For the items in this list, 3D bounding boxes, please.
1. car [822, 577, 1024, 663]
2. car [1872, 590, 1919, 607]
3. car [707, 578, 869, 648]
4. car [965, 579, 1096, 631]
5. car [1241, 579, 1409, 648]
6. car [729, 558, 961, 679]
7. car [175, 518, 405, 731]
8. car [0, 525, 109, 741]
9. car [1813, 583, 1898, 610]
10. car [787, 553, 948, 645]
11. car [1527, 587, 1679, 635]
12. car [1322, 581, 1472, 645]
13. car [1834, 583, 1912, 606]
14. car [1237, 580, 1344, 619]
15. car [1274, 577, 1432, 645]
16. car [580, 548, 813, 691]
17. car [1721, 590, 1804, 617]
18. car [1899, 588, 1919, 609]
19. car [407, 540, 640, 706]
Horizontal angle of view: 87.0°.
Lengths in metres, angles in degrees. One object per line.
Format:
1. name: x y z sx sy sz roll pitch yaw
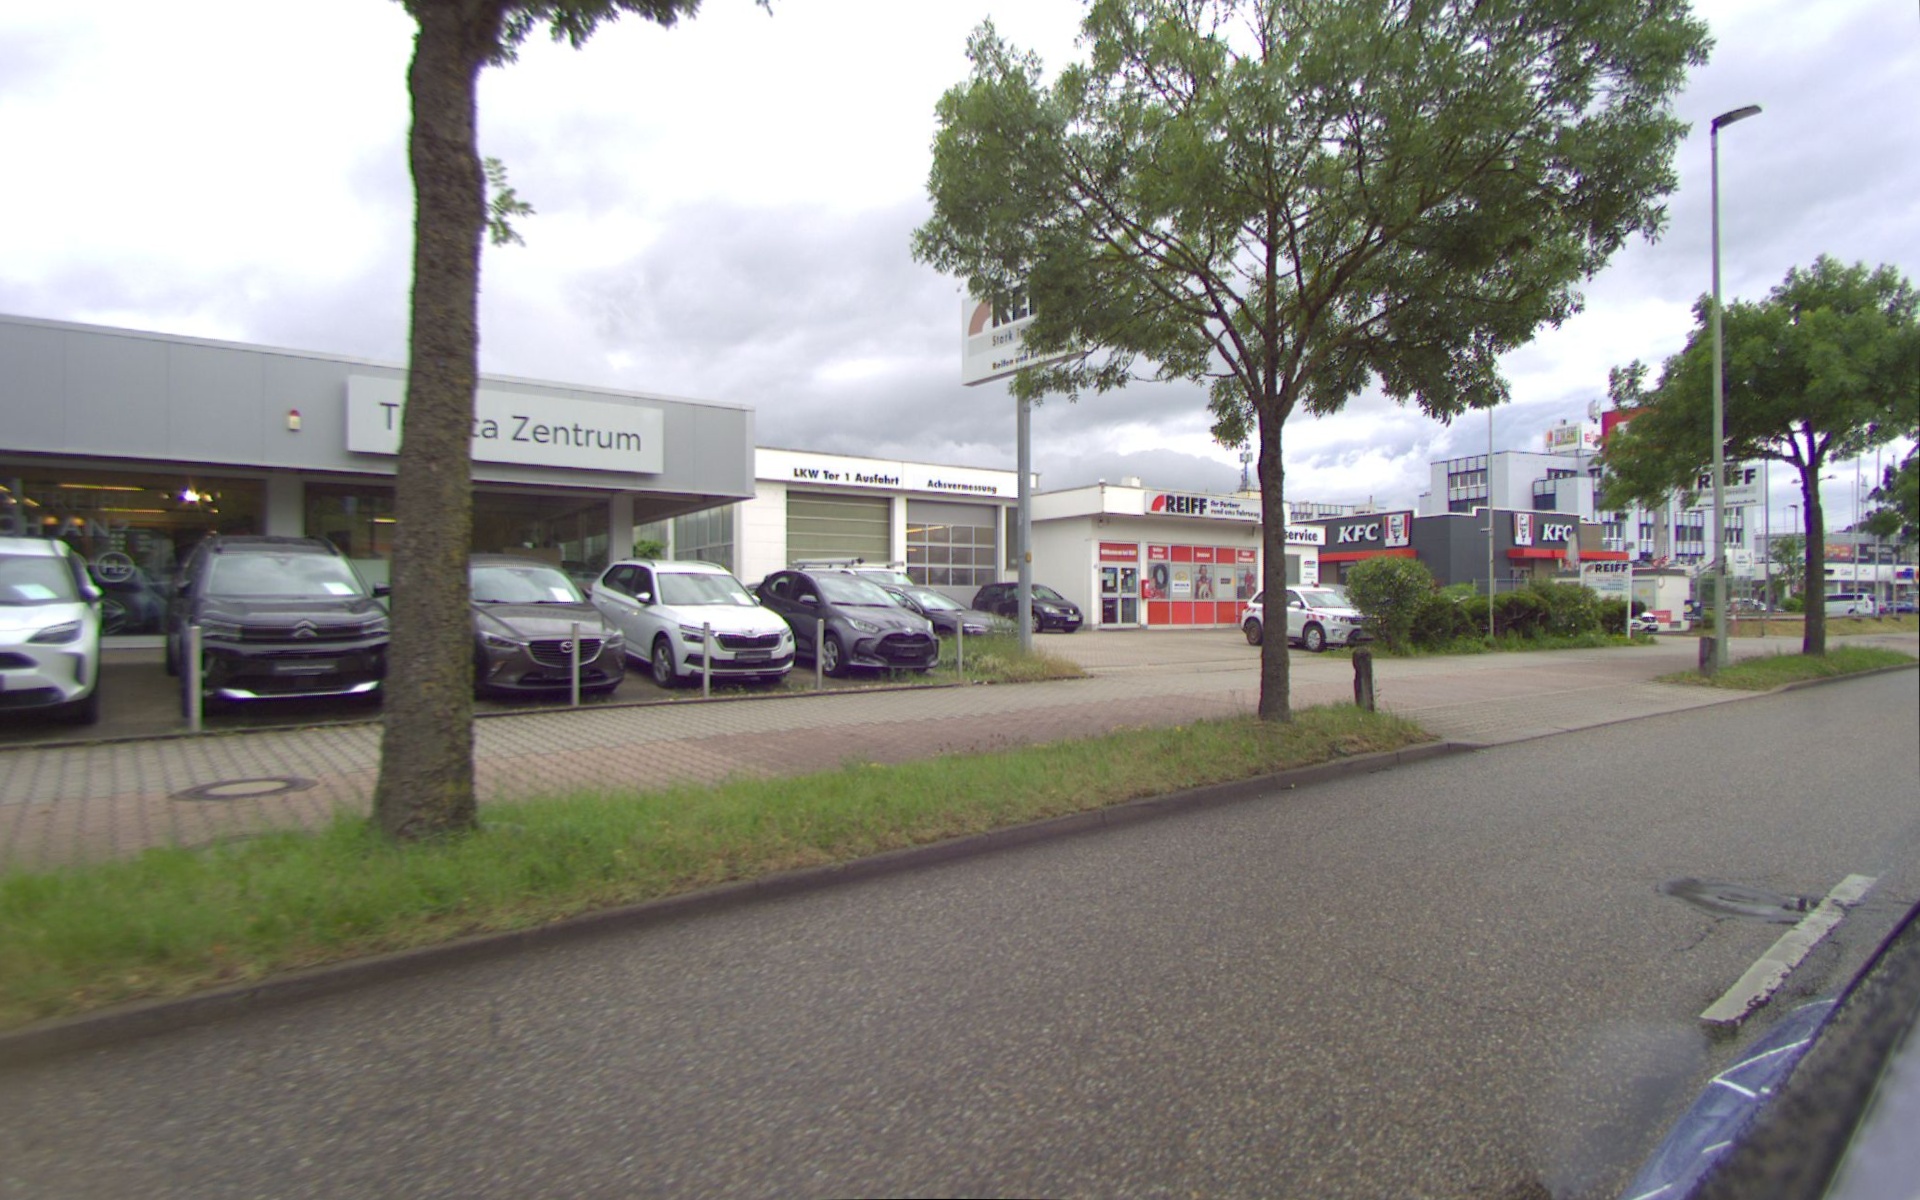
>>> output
1. car: -0.757 0.325 19.853 3.669 1.482 1.770 2 1 37
2. car: 79.844 -0.114 85.052 1.785 1.411 4.383 0 0 -23
3. car: -4.255 0.264 24.442 1.963 1.517 4.666 0 0 -37
4. car: 2.168 0.148 32.099 1.948 1.522 4.065 0 0 -38
5. car: 9.213 0.285 25.923 1.943 1.617 4.077 0 1 -18
6. car: -1.915 0.190 15.855 1.795 1.479 3.844 0 4 -39
7. car: -7.401 0.094 11.071 1.778 1.807 4.001 0 5 -37
8. car: -9.265 0.165 9.593 1.780 1.606 3.998 1 5 -40
9. car: 72.639 -0.298 82.213 1.958 2.039 4.797 1 0 -22
10. car: -2.503 -0.060 26.437 1.930 2.177 4.663 0 0 -39
11. car: 22.780 0.348 36.010 1.852 1.571 4.192 0 0 -30
12. car: 12.649 0.329 29.612 1.783 1.683 4.164 2 0 -15
13. car: 75.490 -0.463 83.746 1.857 1.843 4.383 0 0 -23
14. car: 13.409 -0.040 41.236 1.754 1.497 3.857 0 0 -36
15. car: 10.708 0.247 27.931 1.783 1.683 4.165 2 0 -18
16. car: -3.843 0.153 14.264 1.778 1.562 4.001 0 4 -37
17. car: 56.613 0.221 71.478 1.762 1.806 4.255 3 -1 -27
18. car: 84.924 -0.120 88.030 1.857 1.786 4.383 0 0 -23
19. car: -5.575 0.147 12.622 1.778 1.603 4.001 0 4 -37
